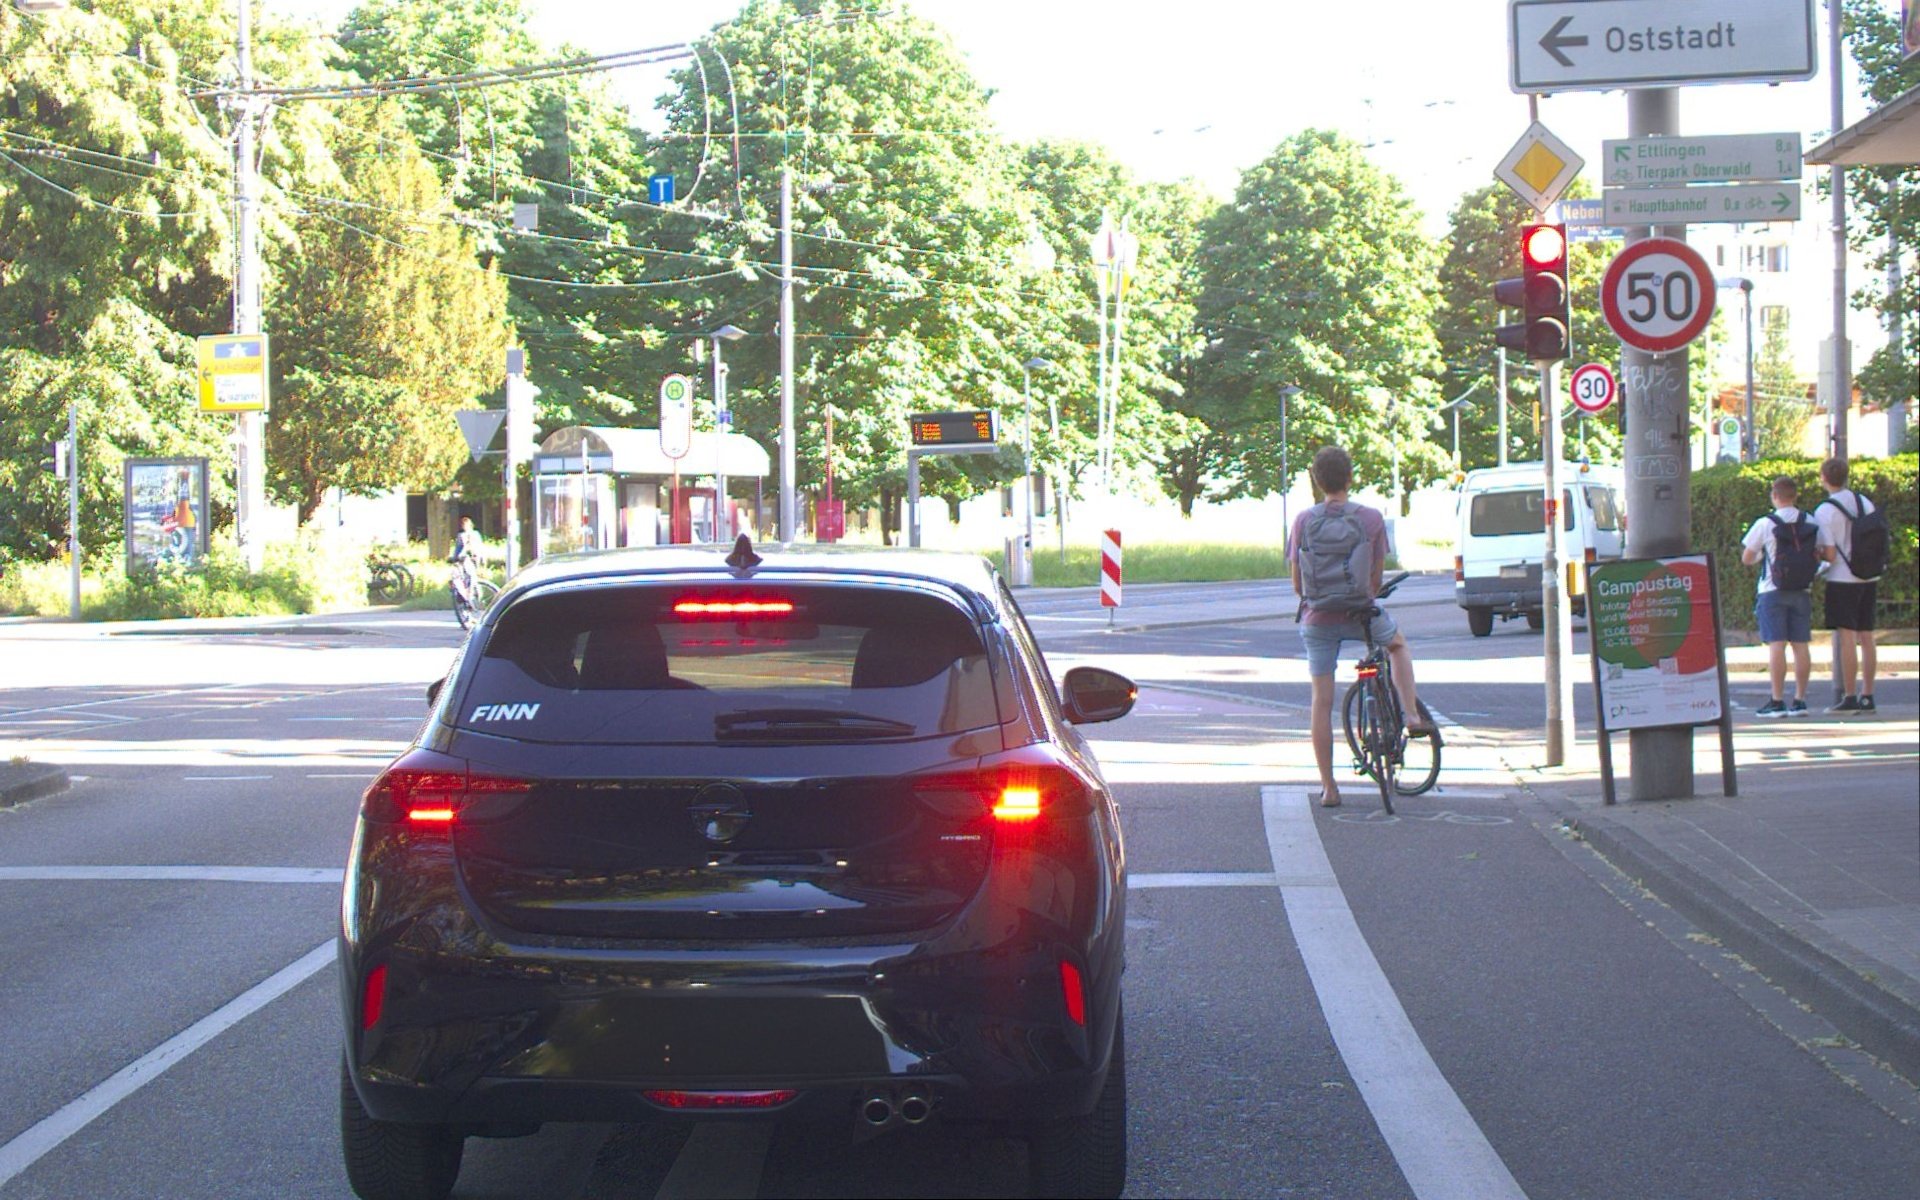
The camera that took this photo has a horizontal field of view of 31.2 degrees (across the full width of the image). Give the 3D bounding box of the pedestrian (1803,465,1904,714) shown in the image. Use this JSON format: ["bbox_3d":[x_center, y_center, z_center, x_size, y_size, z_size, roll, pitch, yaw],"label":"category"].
[{"bbox_3d":[6.619,-0.083,25.465,0.633,1.814,0.744,1,0,20],"label":"pedestrian"}]

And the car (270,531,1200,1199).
[{"bbox_3d":[-0.469,0.564,8.811,1.840,1.457,3.984,0,1,-1],"label":"car"}]

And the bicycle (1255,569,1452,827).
[{"bbox_3d":[2.071,0.470,17.891,0.753,1.231,2.014,0,1,14],"label":"bicycle"}]

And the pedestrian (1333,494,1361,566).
[{"bbox_3d":[10.052,-1.808,89.278,0.603,1.865,0.519,1,0,-6],"label":"pedestrian"}]

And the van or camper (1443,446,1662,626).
[{"bbox_3d":[8.027,-0.840,46.261,2.031,2.302,4.535,1,1,21],"label":"van or camper"}]

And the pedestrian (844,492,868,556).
[{"bbox_3d":[-3.032,-2.213,100.158,0.620,1.865,0.519,1,0,8],"label":"pedestrian"}]

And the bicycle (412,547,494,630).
[{"bbox_3d":[-6.797,-0.170,46.169,0.796,1.061,2.185,0,1,-1],"label":"bicycle"}]

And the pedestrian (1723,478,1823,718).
[{"bbox_3d":[6.037,-0.020,25.511,0.633,1.757,0.582,1,0,20],"label":"pedestrian"}]

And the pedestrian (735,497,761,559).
[{"bbox_3d":[-6.422,-2.185,104.231,0.737,1.865,0.662,1,0,-6],"label":"pedestrian"}]

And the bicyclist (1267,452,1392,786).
[{"bbox_3d":[1.909,0.090,17.716,0.534,1.686,0.567,0,1,17],"label":"bicyclist"}]

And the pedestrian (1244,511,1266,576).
[{"bbox_3d":[8.537,-1.634,99.546,0.604,1.865,0.519,1,0,7],"label":"pedestrian"}]

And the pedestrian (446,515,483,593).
[{"bbox_3d":[-9.417,-0.870,65.322,0.570,1.467,0.666,0,1,1],"label":"pedestrian"}]
